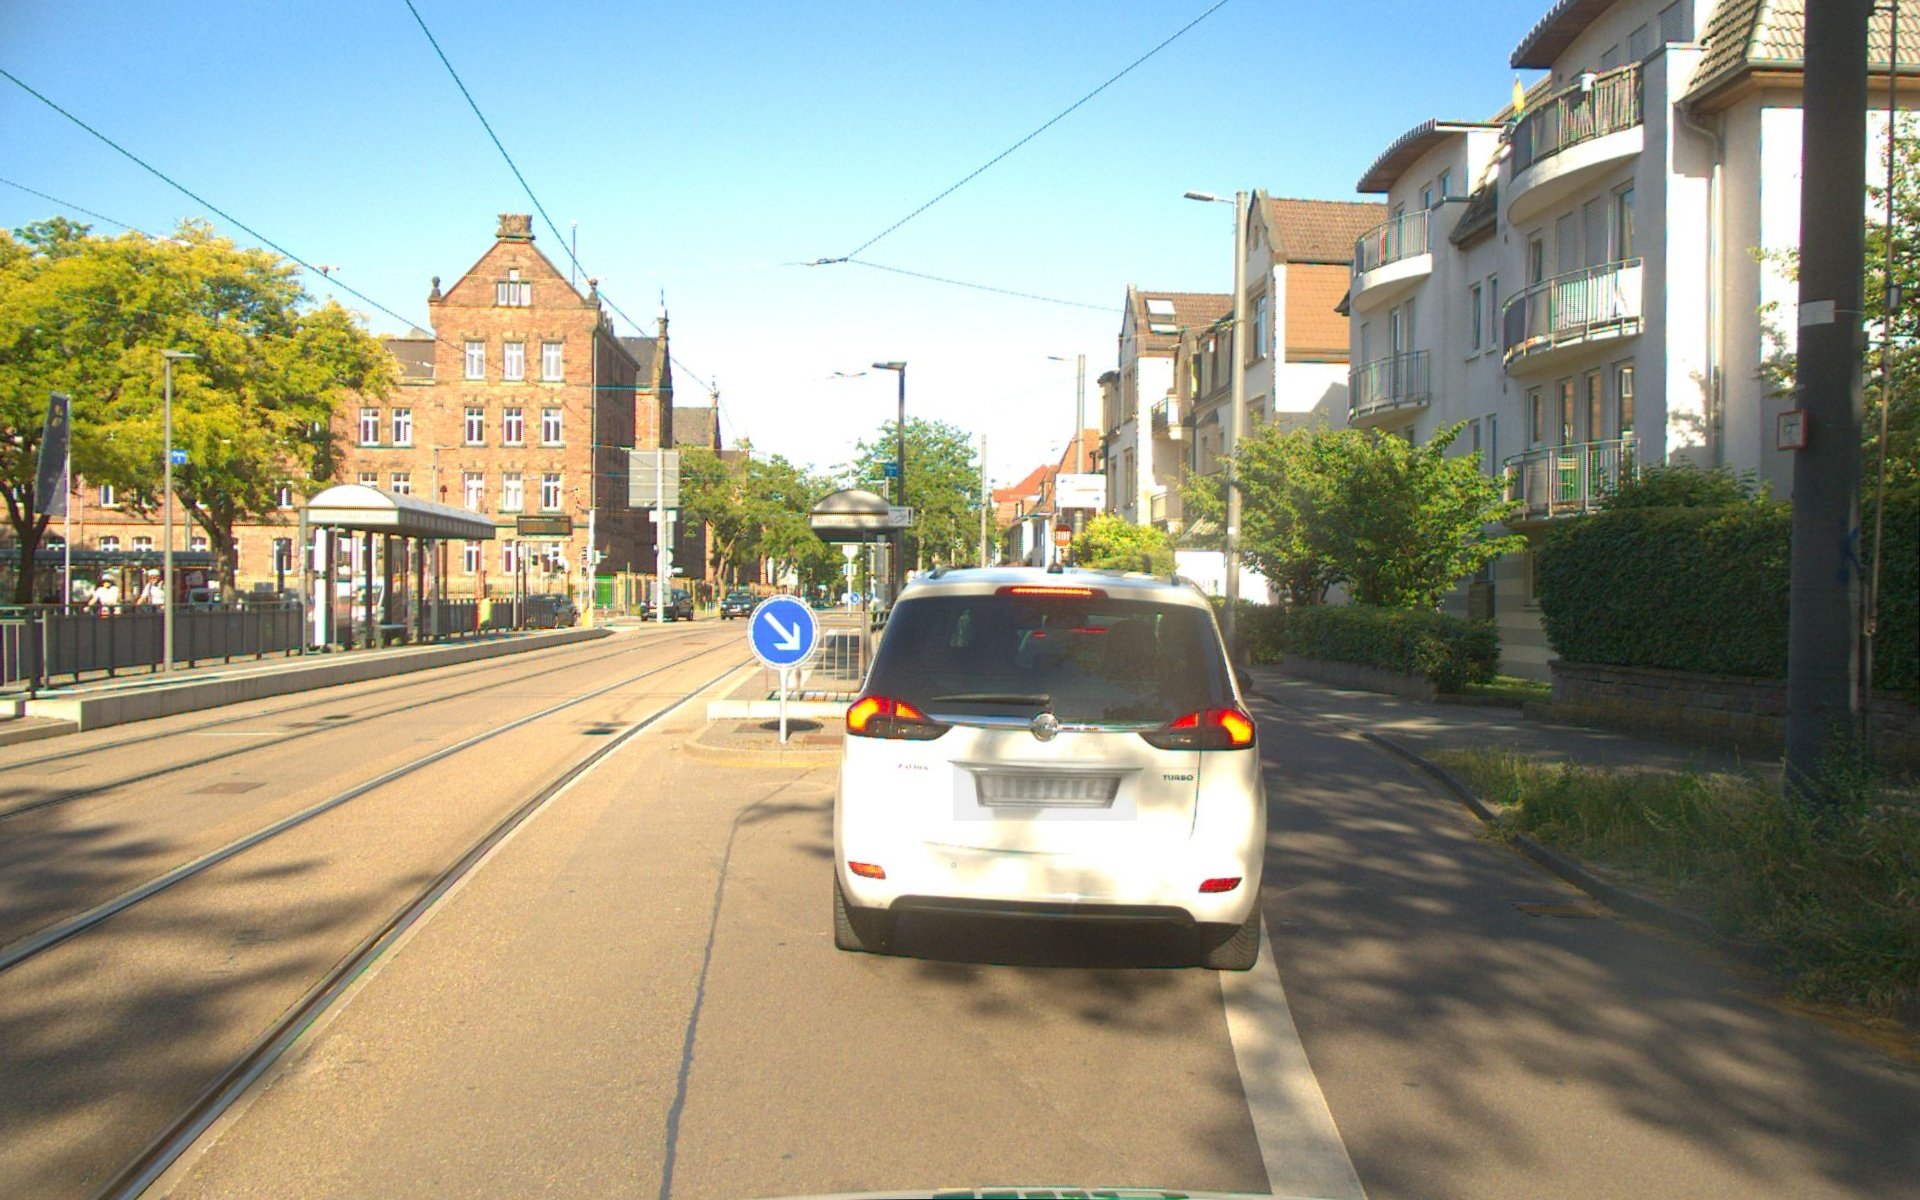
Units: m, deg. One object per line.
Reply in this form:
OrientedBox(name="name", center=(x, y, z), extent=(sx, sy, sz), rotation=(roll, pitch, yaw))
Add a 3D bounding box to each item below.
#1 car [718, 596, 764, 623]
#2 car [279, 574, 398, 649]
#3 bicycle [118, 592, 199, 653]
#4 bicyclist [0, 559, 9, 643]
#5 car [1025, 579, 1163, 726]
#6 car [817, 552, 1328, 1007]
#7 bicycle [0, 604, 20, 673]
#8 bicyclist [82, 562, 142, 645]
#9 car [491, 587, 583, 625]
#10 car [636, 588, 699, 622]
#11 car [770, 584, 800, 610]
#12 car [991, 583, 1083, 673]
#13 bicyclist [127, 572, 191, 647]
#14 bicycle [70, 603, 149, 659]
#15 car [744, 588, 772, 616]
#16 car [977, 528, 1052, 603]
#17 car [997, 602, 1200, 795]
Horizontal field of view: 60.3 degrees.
OrientedBox(name="car", center=(-12.598, 0.555, 95.463), extent=(1.788, 1.471, 4.329), rotation=(1, -1, 4))
OrientedBox(name="car", center=(-15.788, 0.274, 42.208), extent=(1.791, 1.819, 4.250), rotation=(0, 0, -6))
OrientedBox(name="bicycle", center=(-16.955, 0.458, 35.035), extent=(0.761, 1.252, 2.087), rotation=(0, 0, -3))
OrientedBox(name="bicyclist", center=(-17.492, 0.011, 29.217), extent=(0.741, 1.496, 1.189), rotation=(1, 0, -5))
OrientedBox(name="car", center=(1.706, 0.593, 21.041), extent=(1.536, 1.643, 3.786), rotation=(2, 0, 5))
OrientedBox(name="car", center=(0.567, 0.640, 8.076), extent=(1.838, 1.613, 4.002), rotation=(1, 0, 5))
OrientedBox(name="bicycle", center=(-17.503, 0.686, 29.201), extent=(0.799, 1.219, 1.951), rotation=(1, 0, -5))
OrientedBox(name="bicyclist", center=(-17.827, 0.057, 34.793), extent=(0.637, 1.703, 1.233), rotation=(2, 1, -2))
OrientedBox(name="car", center=(-16.641, 0.206, 65.273), extent=(1.759, 1.406, 4.499), rotation=(0, 1, 11))
OrientedBox(name="car", center=(-14.479, 0.283, 82.112), extent=(1.788, 1.645, 4.331), rotation=(1, -1, 9))
OrientedBox(name="car", center=(-13.960, -0.277, 132.311), extent=(1.952, 2.049, 4.000), rotation=(0, 0, 0))
OrientedBox(name="car", center=(1.509, 0.528, 33.523), extent=(1.563, 1.663, 3.900), rotation=(2, 0, -1))
OrientedBox(name="bicyclist", center=(-16.951, 0.197, 35.020), extent=(0.745, 1.563, 1.347), rotation=(0, 0, -3))
OrientedBox(name="bicycle", center=(-17.843, 0.639, 34.750), extent=(0.655, 1.091, 2.014), rotation=(1, 1, -2))
OrientedBox(name="car", center=(-13.384, 0.150, 109.705), extent=(1.792, 1.819, 4.321), rotation=(1, -1, -6))
OrientedBox(name="car", center=(1.278, -0.838, 40.114), extent=(1.563, 1.663, 3.901), rotation=(2, 1, -1))
OrientedBox(name="car", center=(1.230, 0.767, 14.781), extent=(1.536, 1.426, 3.786), rotation=(2, 0, 5))
